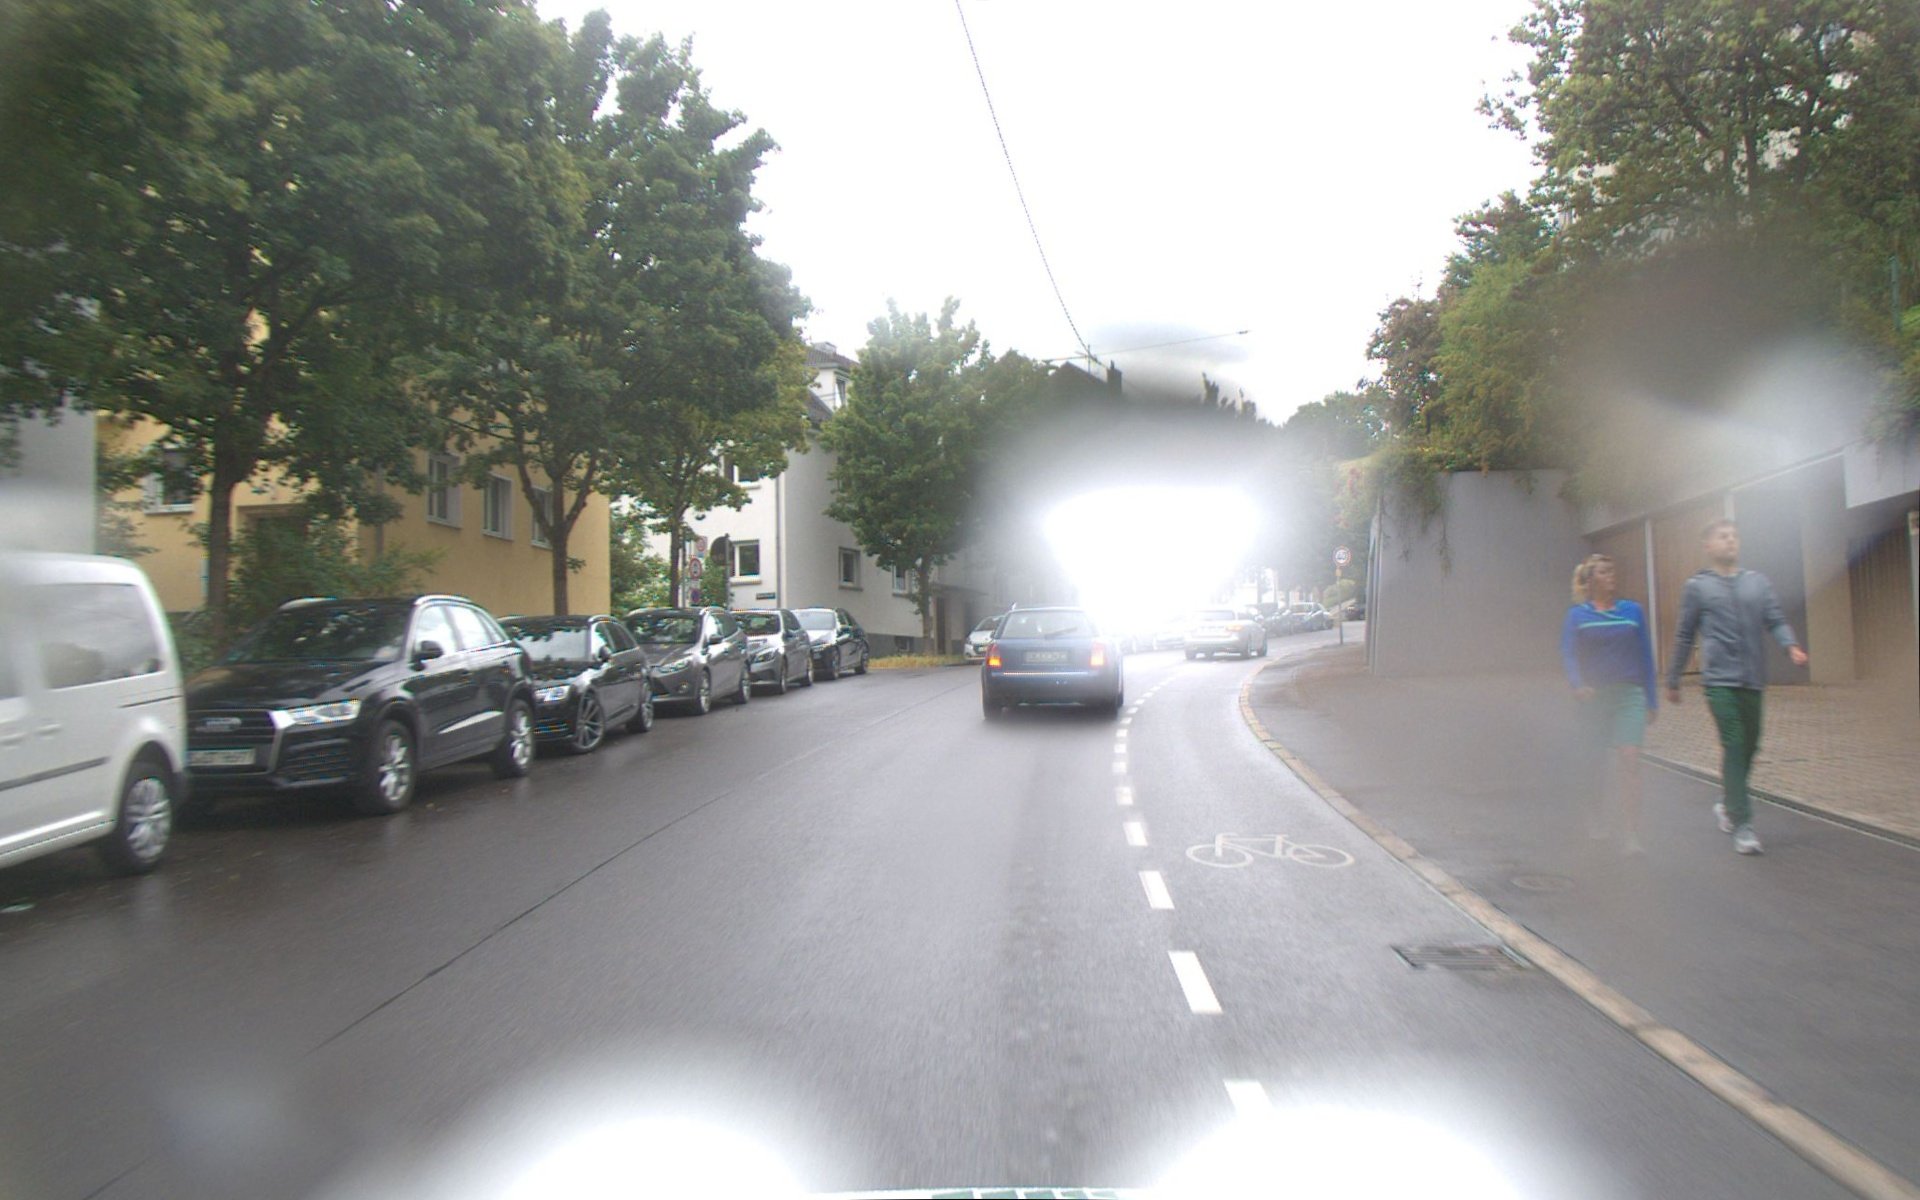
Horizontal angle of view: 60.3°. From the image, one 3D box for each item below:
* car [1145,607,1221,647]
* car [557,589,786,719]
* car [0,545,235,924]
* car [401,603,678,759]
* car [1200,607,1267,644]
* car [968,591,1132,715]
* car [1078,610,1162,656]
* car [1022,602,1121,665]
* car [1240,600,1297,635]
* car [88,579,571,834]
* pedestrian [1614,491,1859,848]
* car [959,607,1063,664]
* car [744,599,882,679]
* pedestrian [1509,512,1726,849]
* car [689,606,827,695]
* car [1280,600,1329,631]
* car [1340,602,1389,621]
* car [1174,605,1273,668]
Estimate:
[{"bbox_3d":[8.860,1.081,65.366,1.768,1.479,4.594,-1,-2,23],"label":"car"},{"bbox_3d":[-4.095,0.730,24.291,1.814,1.720,4.559,-1,0,11],"label":"car"},{"bbox_3d":[-5.499,0.672,8.106,1.816,1.808,4.483,-2,0,1],"label":"car"},{"bbox_3d":[-4.548,0.804,18.663,1.815,1.525,4.741,0,0,1],"label":"car"},{"bbox_3d":[12.376,1.180,74.664,1.768,1.579,4.796,-1,-2,24],"label":"car"},{"bbox_3d":[1.303,0.649,22.067,1.814,1.438,4.365,-2,-1,7],"label":"car"},{"bbox_3d":[5.878,1.207,60.346,1.768,1.511,4.234,-5,-3,23],"label":"car"},{"bbox_3d":[3.821,1.136,55.796,1.875,2.036,4.546,-1,-2,24],"label":"car"},{"bbox_3d":[15.103,0.839,80.804,1.768,1.655,4.137,-2,-1,24],"label":"car"},{"bbox_3d":[-4.813,0.738,13.470,1.815,1.697,4.590,-1,0,5],"label":"car"},{"bbox_3d":[4.372,0.379,9.417,0.759,1.864,1.251,-2,-1,2],"label":"pedestrian"},{"bbox_3d":[1.602,1.096,50.268,1.748,1.541,4.346,-5,-3,20],"label":"car"},{"bbox_3d":[-2.978,0.785,34.493,1.737,1.567,4.520,0,-1,10],"label":"car"},{"bbox_3d":[3.745,0.445,9.511,0.759,1.789,1.012,-3,-1,2],"label":"pedestrian"},{"bbox_3d":[-3.490,0.841,29.258,1.580,1.421,4.325,-1,0,4],"label":"car"},{"bbox_3d":[18.301,0.798,87.766,1.678,1.488,3.878,-1,1,25],"label":"car"},{"bbox_3d":[36.604,1.041,149.661,4.117,1.534,1.726,-1,-1,-26],"label":"car"},{"bbox_3d":[7.377,0.973,46.000,1.910,1.588,4.264,1,1,21],"label":"car"}]
